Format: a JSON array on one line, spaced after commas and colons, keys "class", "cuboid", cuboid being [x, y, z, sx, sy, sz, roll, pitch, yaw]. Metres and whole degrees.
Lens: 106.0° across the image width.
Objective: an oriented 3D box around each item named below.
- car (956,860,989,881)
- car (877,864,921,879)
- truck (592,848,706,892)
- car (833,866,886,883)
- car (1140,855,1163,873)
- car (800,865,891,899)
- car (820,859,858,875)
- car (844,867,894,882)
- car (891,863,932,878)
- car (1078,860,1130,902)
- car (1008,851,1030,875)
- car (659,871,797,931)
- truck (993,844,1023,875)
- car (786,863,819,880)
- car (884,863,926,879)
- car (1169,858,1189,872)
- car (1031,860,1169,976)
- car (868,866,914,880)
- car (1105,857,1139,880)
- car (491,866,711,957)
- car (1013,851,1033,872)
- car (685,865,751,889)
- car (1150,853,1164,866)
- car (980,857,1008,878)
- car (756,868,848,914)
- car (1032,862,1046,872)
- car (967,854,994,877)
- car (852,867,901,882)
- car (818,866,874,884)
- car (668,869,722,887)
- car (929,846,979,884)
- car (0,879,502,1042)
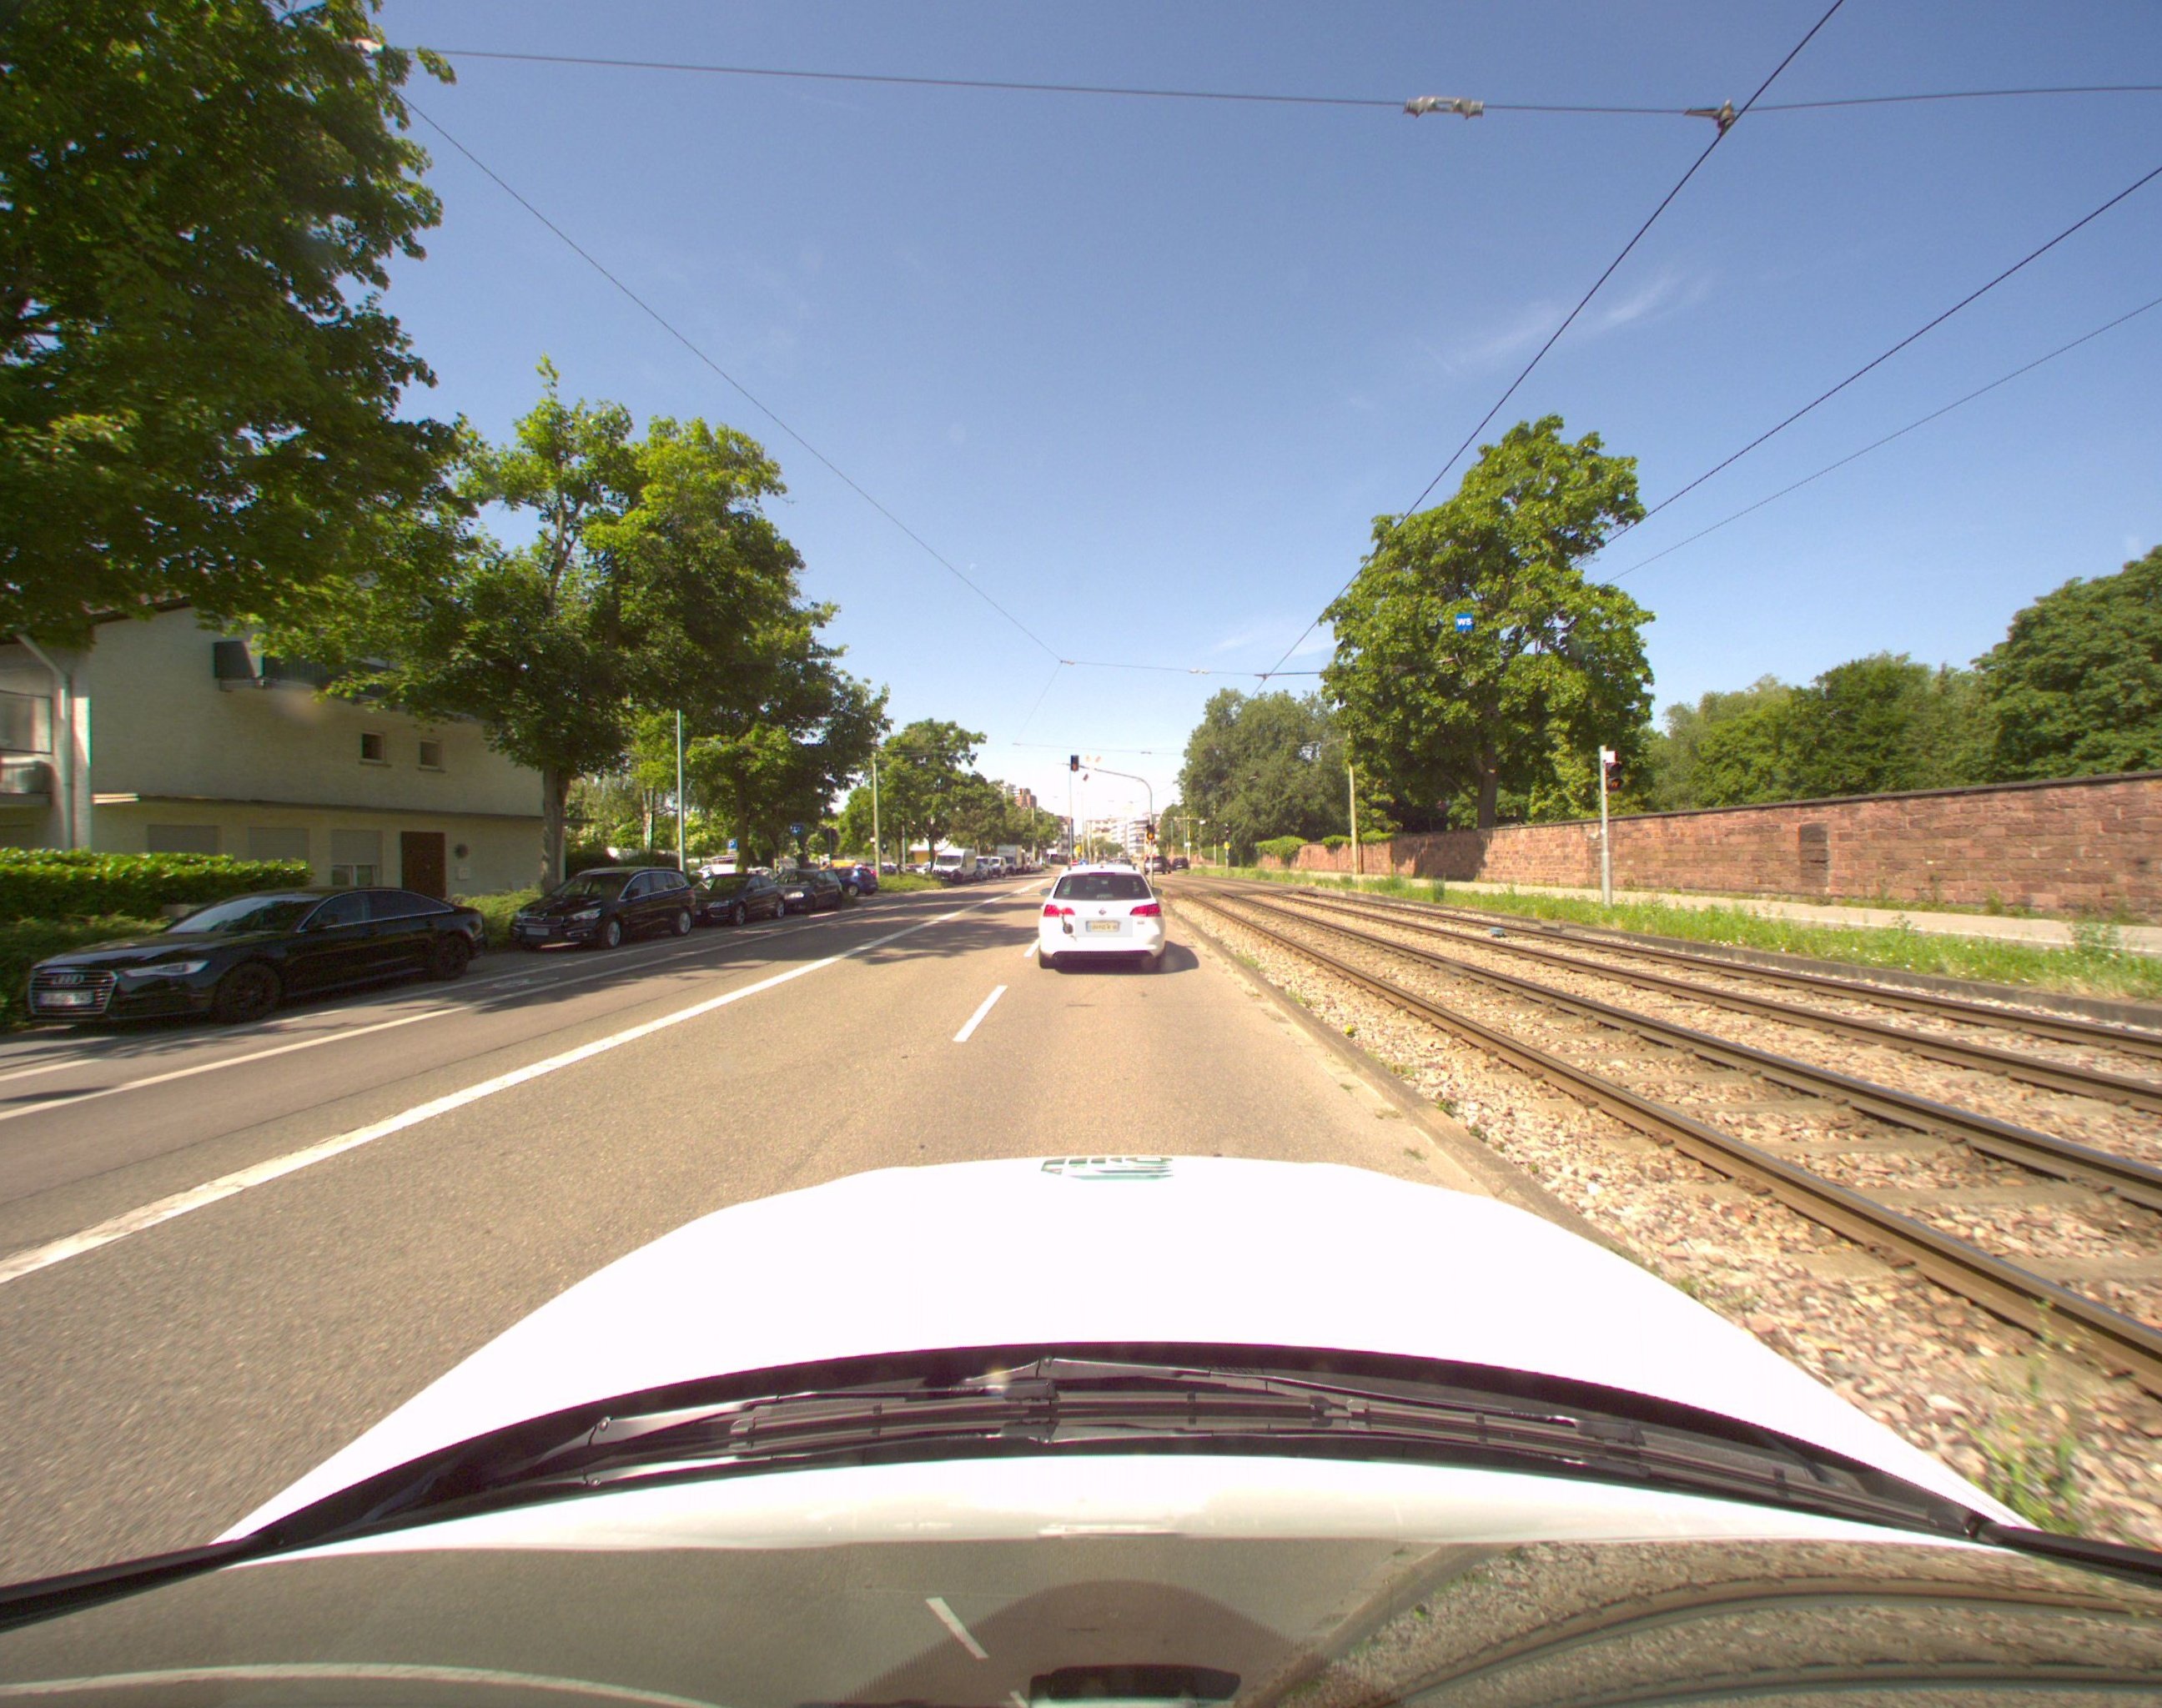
[{"class": "car", "cuboid": [-8.553, 1.290, 64.326, 1.836, 1.516, 4.199, -2, 0, 2]}, {"class": "car", "cuboid": [-18.362, 1.779, 82.336, 3.969, 1.402, 1.773, -2, 0, 4]}, {"class": "truck", "cuboid": [-31.820, 1.154, 60.102, 7.119, 3.019, 2.231, 1, 0, -1]}, {"class": "car", "cuboid": [-19.046, 1.766, 70.207, 3.969, 1.264, 1.773, -2, 0, 4]}, {"class": "car", "cuboid": [6.169, 0.829, 70.933, 1.852, 1.513, 3.919, 1, 0, 6]}, {"class": "car", "cuboid": [-11.622, 1.390, 40.380, 3.879, 1.407, 1.755, -3, 0, 7]}, {"class": "car", "cuboid": [-30.622, 1.646, 103.155, 4.249, 2.014, 1.997, 1, -1, -4]}, {"class": "car", "cuboid": [-18.893, 1.814, 72.677, 3.969, 1.225, 1.773, -2, 0, 4]}, {"class": "car", "cuboid": [-18.149, 1.774, 87.382, 3.969, 1.444, 1.773, -2, 0, 4]}, {"class": "car", "cuboid": [0.858, 0.936, 29.709, 1.739, 1.388, 3.915, 0, 0, 2]}, {"class": "car", "cuboid": [-7.133, 1.046, 93.615, 1.836, 2.668, 5.006, -2, 0, 2]}, {"class": "car", "cuboid": [-9.864, 1.254, 23.210, 1.684, 1.379, 4.784, -1, 0, 2]}, {"class": "truck", "cuboid": [-7.724, 0.592, 86.446, 2.348, 3.122, 6.893, -2, 0, 1]}, {"class": "car", "cuboid": [-33.536, 2.071, 98.118, 3.412, 1.876, 1.552, -2, 0, 0]}, {"class": "car", "cuboid": [-18.318, 1.772, 84.839, 3.969, 1.444, 1.773, -2, 0, 4]}, {"class": "car", "cuboid": [10.305, 1.111, 85.446, 1.734, 1.407, 3.926, 1, 0, 12]}, {"class": "car", "cuboid": [0.288, 0.835, 12.409, 1.762, 1.446, 3.914, 1, 0, 1]}, {"class": "car", "cuboid": [-18.572, 1.871, 79.701, 3.969, 1.225, 1.773, -2, 0, 4]}, {"class": "car", "cuboid": [2.710, 0.931, 52.860, 1.851, 1.416, 4.334, 1, 0, 8]}, {"class": "car", "cuboid": [-10.067, 1.111, 17.644, 1.755, 1.606, 4.895, -1, 0, 2]}, {"class": "car", "cuboid": [-7.192, 0.863, 101.725, 1.836, 2.494, 5.860, -2, 0, 2]}, {"class": "car", "cuboid": [-31.305, 1.956, 70.318, 4.683, 2.014, 1.997, 1, -1, -3]}, {"class": "car", "cuboid": [15.675, 1.139, 168.634, 2.454, 2.499, 5.912, 1, -1, 2]}, {"class": "car", "cuboid": [-8.242, 1.250, 77.415, 1.836, 1.960, 5.137, -2, 0, 2]}, {"class": "car", "cuboid": [-9.586, 1.230, 28.288, 1.635, 1.450, 4.007, 1, 0, 3]}, {"class": "car", "cuboid": [-6.246, 1.892, 122.084, 1.774, 1.433, 4.039, -2, 0, 2]}, {"class": "car", "cuboid": [-8.760, 0.975, 71.443, 1.839, 1.937, 5.190, -2, 0, -2]}, {"class": "car", "cuboid": [-18.842, 1.866, 75.252, 3.969, 1.225, 1.773, -2, 0, 4]}, {"class": "car", "cuboid": [-19.499, 1.728, 67.653, 3.969, 1.350, 1.773, -2, 0, 4]}, {"class": "car", "cuboid": [-32.117, 2.012, 67.813, 3.754, 1.356, 1.560, 2, 0, 5]}, {"class": "car", "cuboid": [-8.903, 0.738, 57.893, 2.049, 2.501, 6.315, 1, 0, 5]}, {"class": "car", "cuboid": [-10.224, 1.152, 10.668, 1.835, 1.465, 4.907, -1, 0, -2]}]
